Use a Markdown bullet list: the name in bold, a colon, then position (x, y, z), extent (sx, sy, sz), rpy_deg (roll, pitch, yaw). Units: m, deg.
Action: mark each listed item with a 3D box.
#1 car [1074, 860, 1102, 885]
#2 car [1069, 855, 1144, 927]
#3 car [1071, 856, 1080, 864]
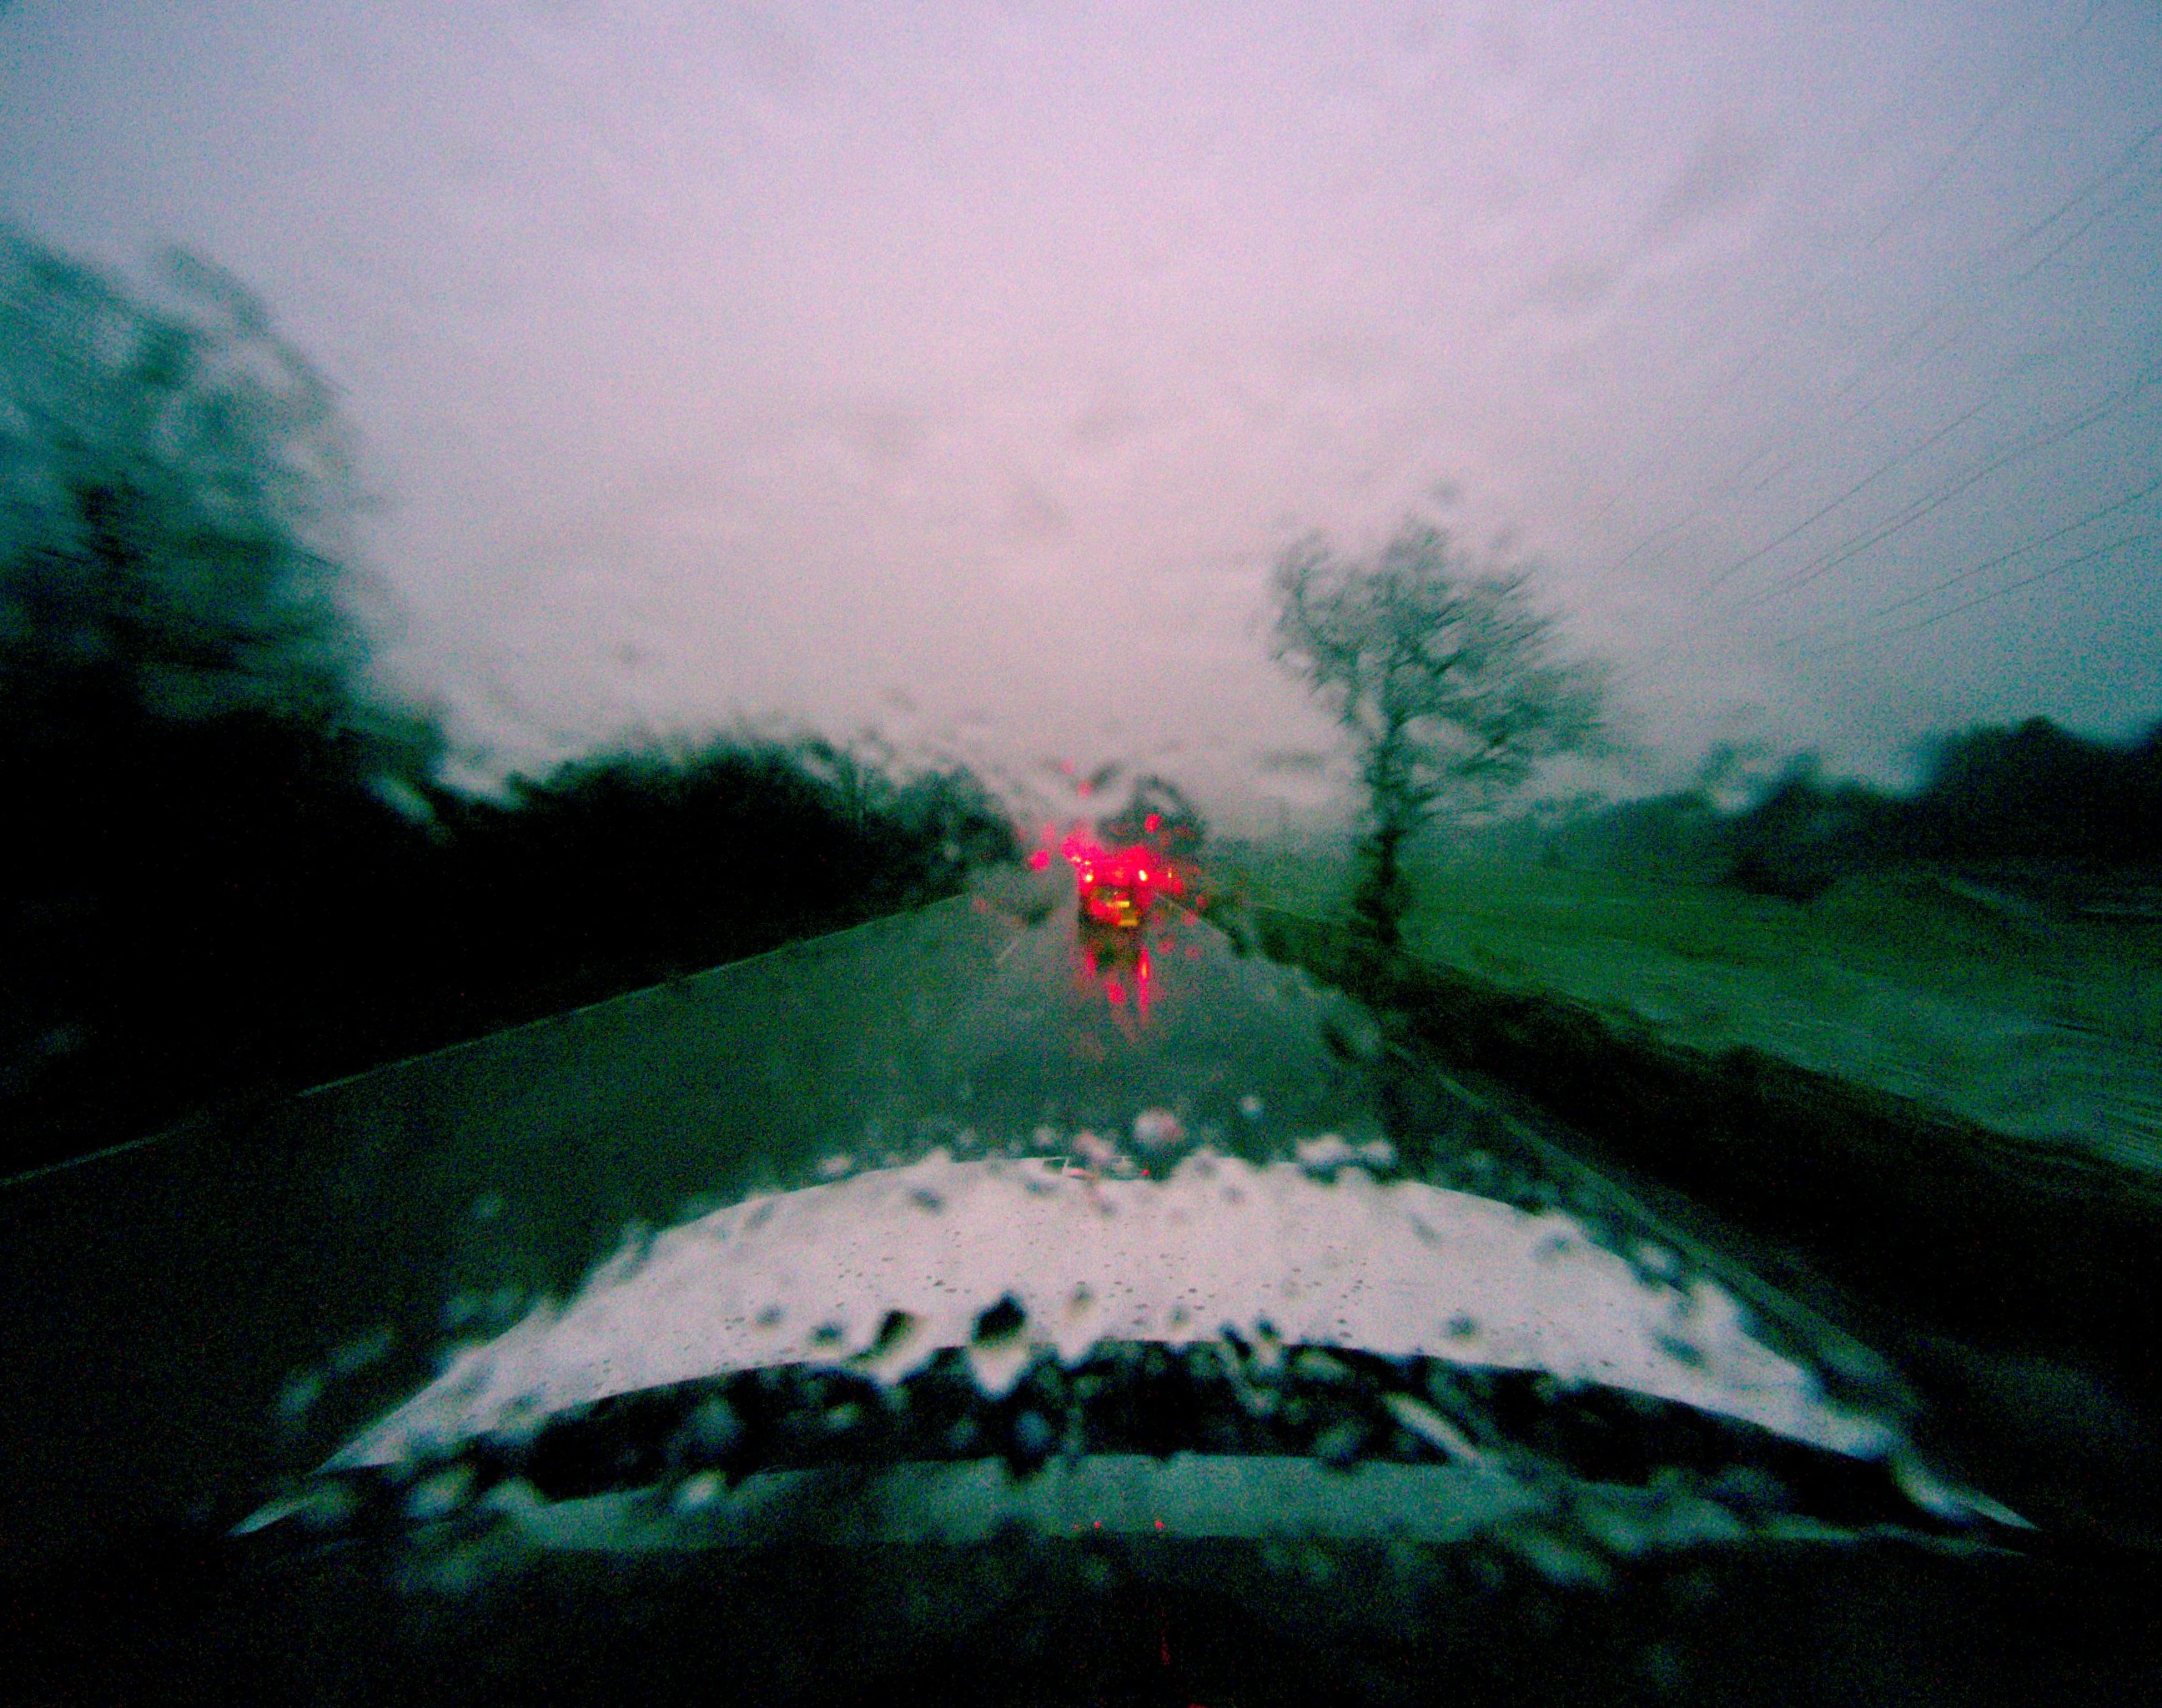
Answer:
- **car**: position (0.356, 1.035, 47.169), extent (1.542, 1.397, 3.868), rpy_deg (0, 0, -1)
- **car**: position (0.612, 0.809, 19.282), extent (1.596, 1.522, 3.871), rpy_deg (0, 0, 2)
- **car**: position (-0.997, 1.040, 142.334), extent (1.542, 1.397, 3.869), rpy_deg (0, 0, 0)
